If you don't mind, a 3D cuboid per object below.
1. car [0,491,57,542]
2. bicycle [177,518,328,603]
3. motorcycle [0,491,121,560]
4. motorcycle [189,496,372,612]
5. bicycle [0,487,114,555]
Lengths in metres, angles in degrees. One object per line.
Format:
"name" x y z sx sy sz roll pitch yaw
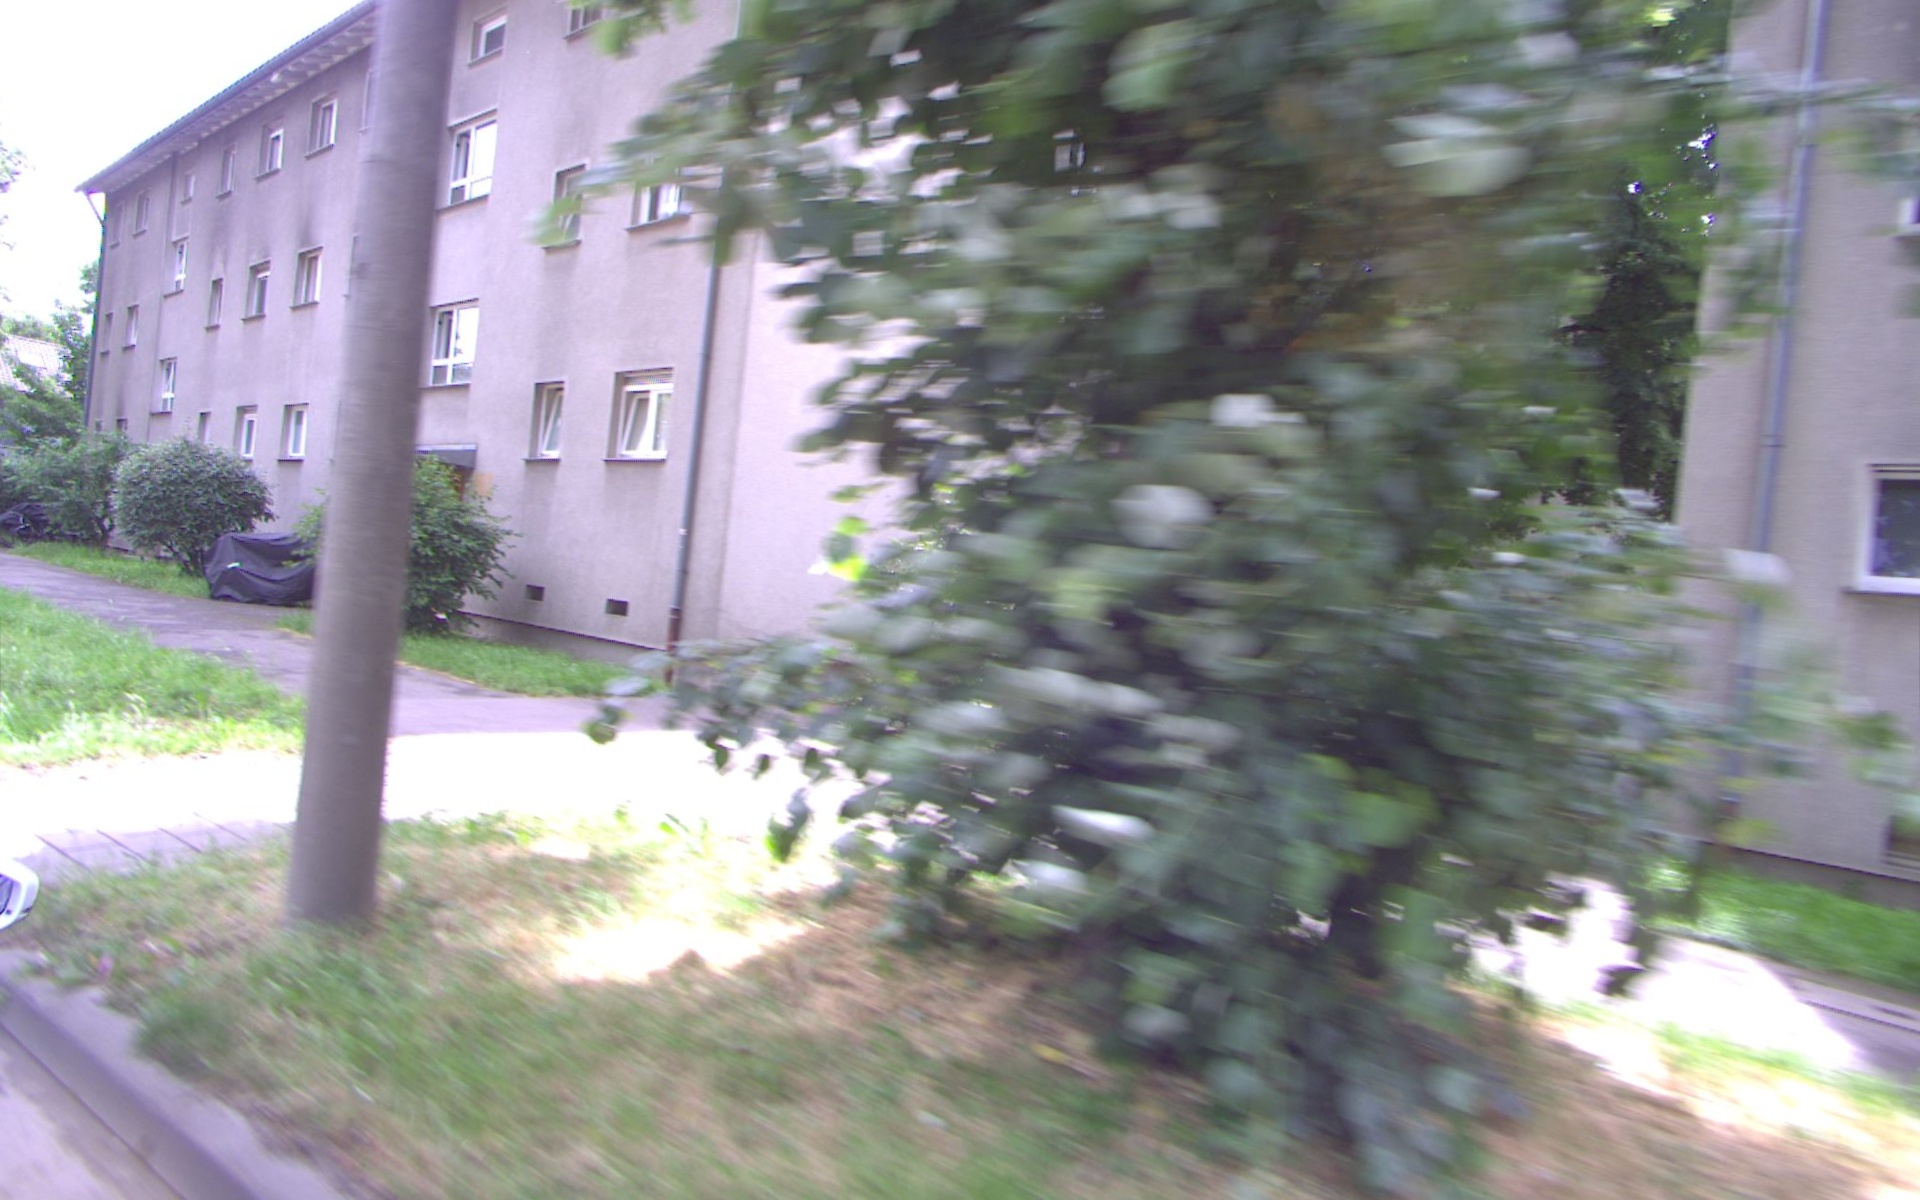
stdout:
"car" -34.068 -3.101 34.582 1.904 1.572 4.000 8 -1 24
"bicycle" -10.956 -0.589 15.632 0.448 1.098 1.797 8 0 36
"motorcycle" -21.022 -1.721 23.373 0.670 1.298 2.202 6 0 39
"motorcycle" -10.162 -0.673 15.087 1.003 1.447 1.994 8 1 42
"bicycle" -21.546 -1.864 23.828 0.670 1.298 2.165 6 0 39
